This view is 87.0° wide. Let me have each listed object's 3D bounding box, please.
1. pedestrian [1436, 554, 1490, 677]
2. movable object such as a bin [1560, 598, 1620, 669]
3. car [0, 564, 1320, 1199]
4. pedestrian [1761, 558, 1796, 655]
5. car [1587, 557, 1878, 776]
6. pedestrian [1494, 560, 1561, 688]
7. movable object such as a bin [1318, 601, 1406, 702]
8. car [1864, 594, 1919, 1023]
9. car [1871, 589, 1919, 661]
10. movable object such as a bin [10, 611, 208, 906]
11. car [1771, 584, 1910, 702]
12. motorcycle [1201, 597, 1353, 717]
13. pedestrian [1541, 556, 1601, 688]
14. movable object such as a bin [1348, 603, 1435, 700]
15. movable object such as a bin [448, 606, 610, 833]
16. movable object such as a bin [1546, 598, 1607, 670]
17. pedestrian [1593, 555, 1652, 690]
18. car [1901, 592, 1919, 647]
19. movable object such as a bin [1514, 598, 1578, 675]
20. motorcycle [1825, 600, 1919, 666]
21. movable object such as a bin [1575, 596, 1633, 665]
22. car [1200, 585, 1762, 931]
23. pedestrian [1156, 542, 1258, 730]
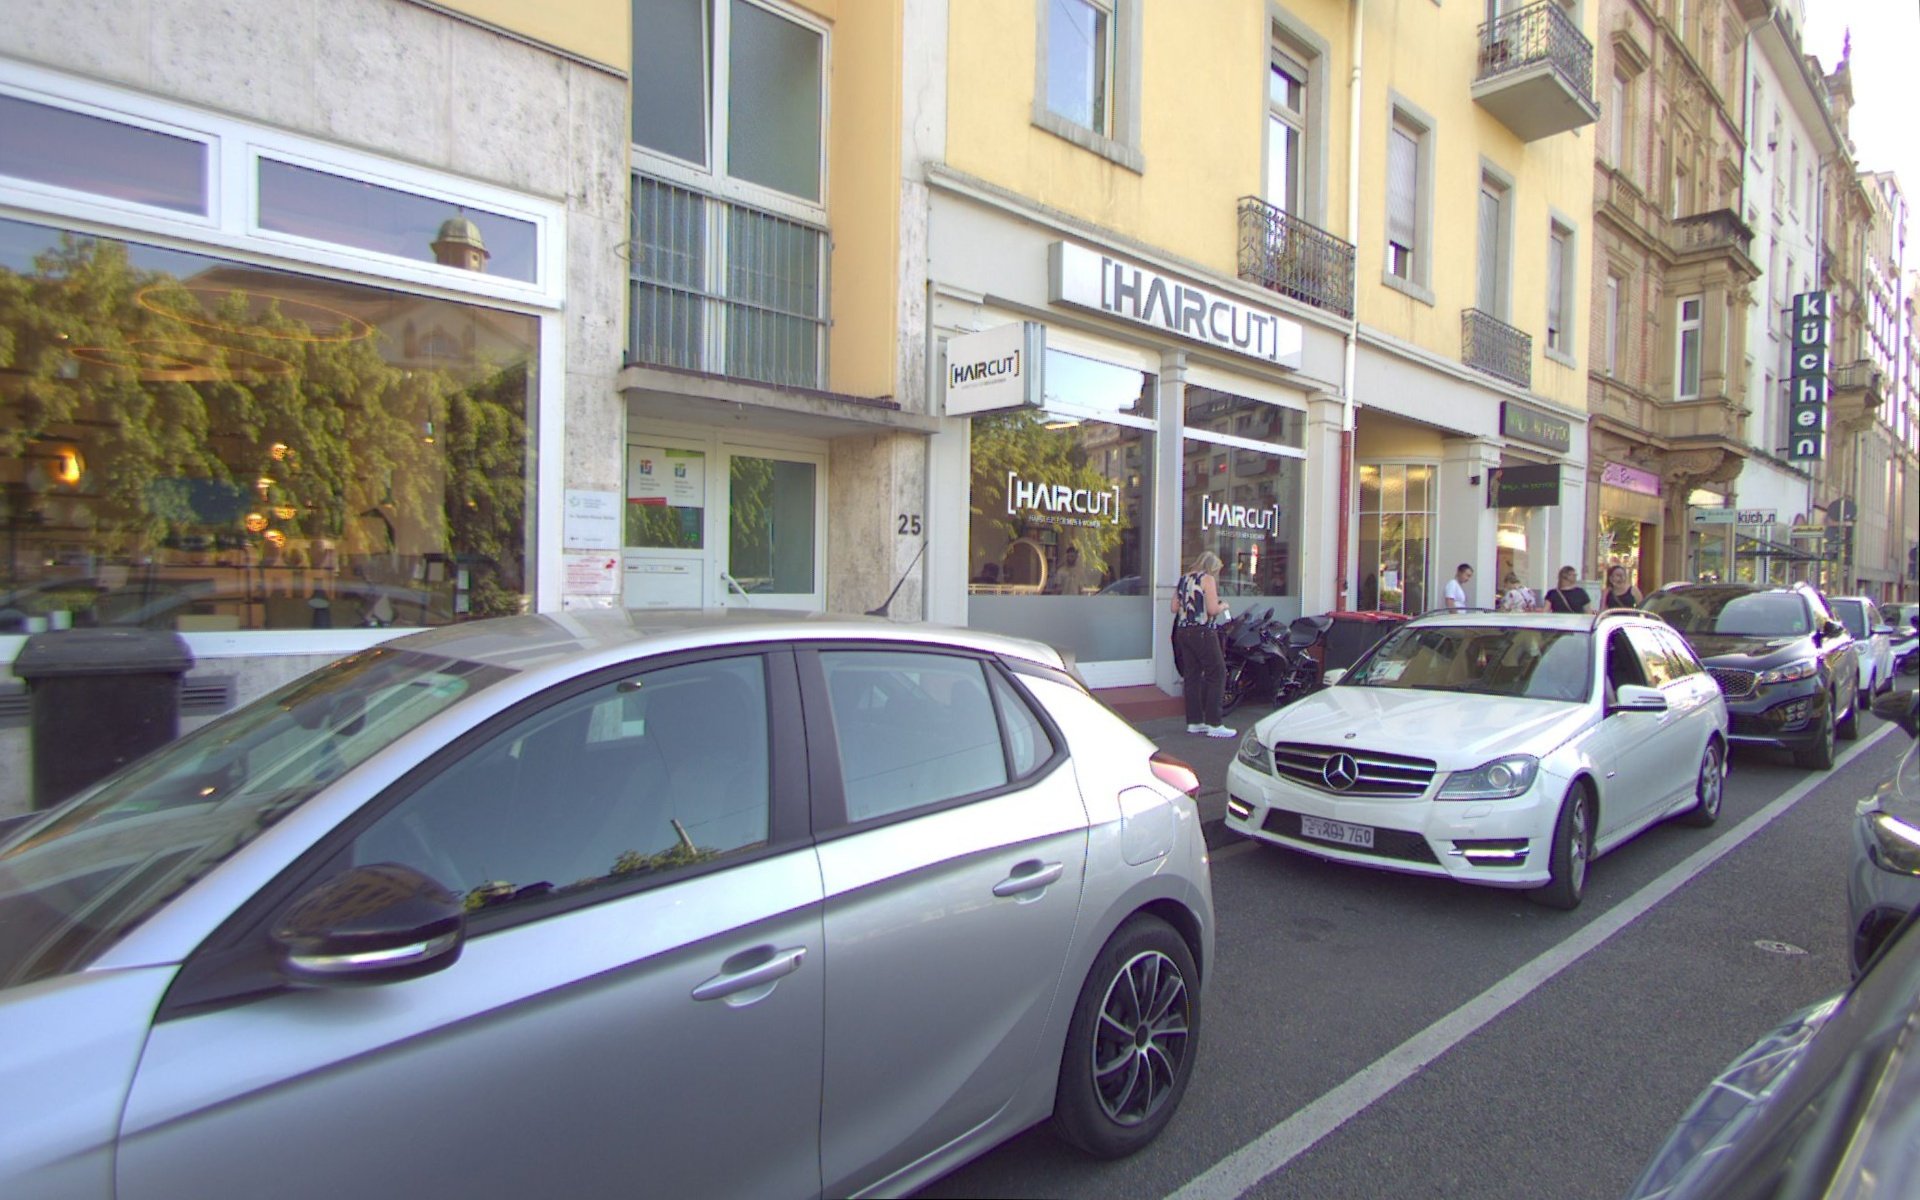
[{"bbox_3d":[6.993,0.214,14.081,0.513,1.681,0.339,1,1,-15],"label":"pedestrian"},{"bbox_3d":[10.242,0.530,16.456,0.608,1.079,0.606,0,4,-41],"label":"movable object such as a bin"},{"bbox_3d":[-0.865,0.664,2.427,4.010,1.445,1.671,0,1,-44],"label":"car"},{"bbox_3d":[15.409,0.114,19.046,0.473,1.785,0.434,0,0,-41],"label":"pedestrian"},{"bbox_3d":[8.008,0.504,10.314,4.498,1.758,1.756,0,1,-45],"label":"car"},{"bbox_3d":[7.625,0.306,13.618,0.582,1.681,0.451,2,1,4],"label":"pedestrian"},{"bbox_3d":[4.531,0.557,11.420,0.608,1.054,0.661,1,3,-38],"label":"movable object such as a bin"},{"bbox_3d":[5.403,0.719,4.291,4.297,1.467,1.846,0,1,-41],"label":"car"},{"bbox_3d":[22.066,0.526,22.974,4.096,1.537,1.734,0,1,-44],"label":"car"},{"bbox_3d":[-3.659,0.619,4.370,0.609,1.080,0.704,0,4,-41],"label":"movable object such as a bin"},{"bbox_3d":[12.794,0.549,14.667,2.748,1.537,1.273,0,1,-44],"label":"car"},{"bbox_3d":[3.306,0.537,10.445,1.975,1.105,0.551,0,3,-42],"label":"motorcycle"},{"bbox_3d":[7.867,0.267,13.029,0.615,1.653,0.457,1,0,37],"label":"pedestrian"},{"bbox_3d":[5.033,0.579,11.806,0.608,1.037,0.669,1,3,-38],"label":"movable object such as a bin"},{"bbox_3d":[-2.353,0.602,5.509,0.609,1.080,0.704,0,4,-41],"label":"movable object such as a bin"},{"bbox_3d":[9.771,0.523,16.050,0.608,1.079,0.606,0,4,-41],"label":"movable object such as a bin"},{"bbox_3d":[8.316,0.270,12.701,0.407,1.653,0.514,0,0,-39],"label":"pedestrian"},{"bbox_3d":[26.663,0.515,27.131,3.736,1.435,1.736,0,1,-41],"label":"car"},{"bbox_3d":[8.824,0.535,15.250,0.608,1.079,0.606,0,4,-41],"label":"movable object such as a bin"},{"bbox_3d":[19.014,0.660,20.479,2.137,1.295,0.866,1,0,8],"label":"motorcycle"},{"bbox_3d":[10.742,0.496,16.884,0.608,1.079,0.606,0,4,-41],"label":"movable object such as a bin"},{"bbox_3d":[3.544,0.657,6.443,4.387,1.465,1.741,0,1,-42],"label":"car"},{"bbox_3d":[2.267,0.302,9.312,0.523,1.653,0.697,0,2,-43],"label":"pedestrian"}]
